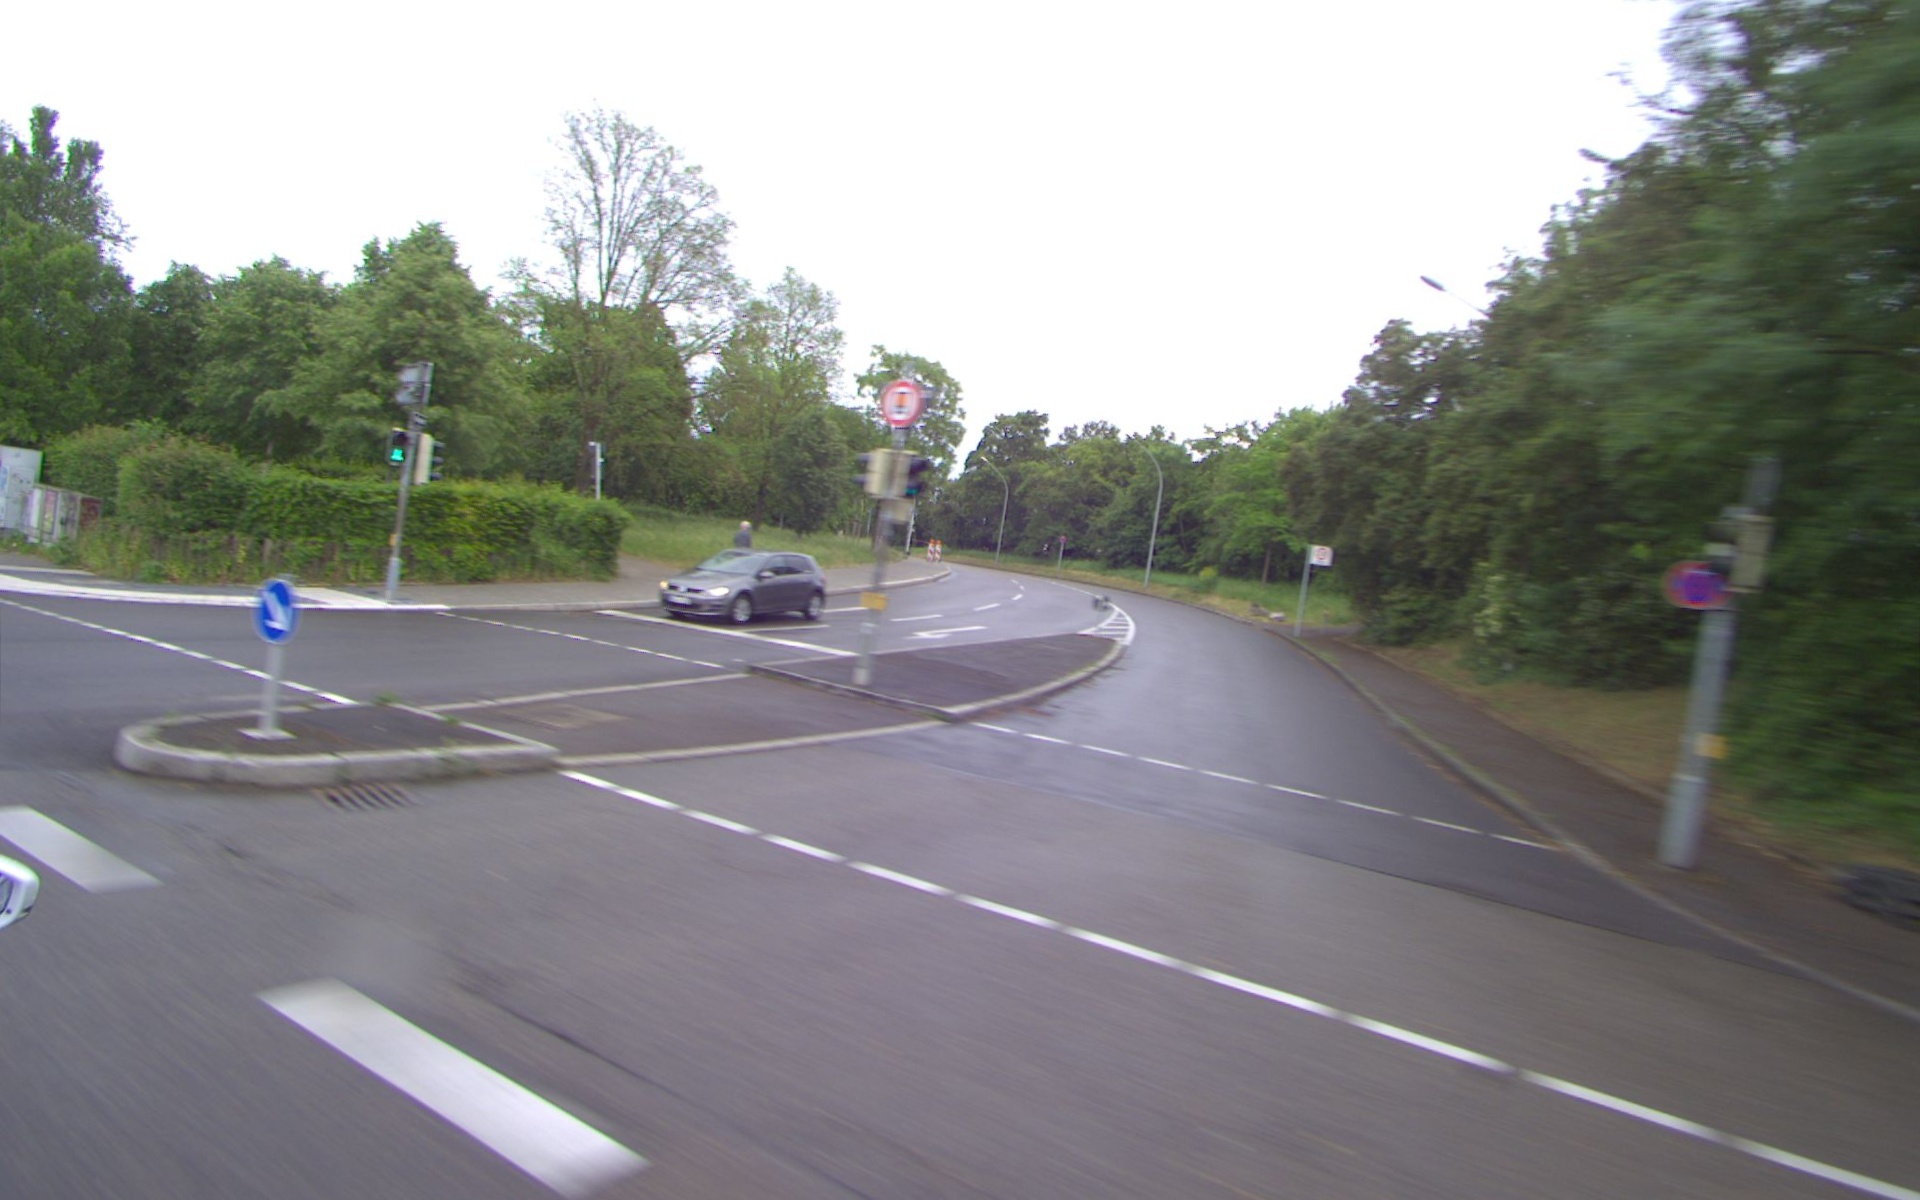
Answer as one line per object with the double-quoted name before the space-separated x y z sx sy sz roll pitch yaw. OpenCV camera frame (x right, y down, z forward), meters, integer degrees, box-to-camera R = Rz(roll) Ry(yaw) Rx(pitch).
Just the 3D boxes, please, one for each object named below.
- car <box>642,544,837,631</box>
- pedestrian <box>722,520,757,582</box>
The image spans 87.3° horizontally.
"car" -4.467 -0.336 20.997 1.856 1.475 4.075 7 5 24
"pedestrian" -6.034 -1.340 27.502 0.678 1.603 0.473 7 2 0
